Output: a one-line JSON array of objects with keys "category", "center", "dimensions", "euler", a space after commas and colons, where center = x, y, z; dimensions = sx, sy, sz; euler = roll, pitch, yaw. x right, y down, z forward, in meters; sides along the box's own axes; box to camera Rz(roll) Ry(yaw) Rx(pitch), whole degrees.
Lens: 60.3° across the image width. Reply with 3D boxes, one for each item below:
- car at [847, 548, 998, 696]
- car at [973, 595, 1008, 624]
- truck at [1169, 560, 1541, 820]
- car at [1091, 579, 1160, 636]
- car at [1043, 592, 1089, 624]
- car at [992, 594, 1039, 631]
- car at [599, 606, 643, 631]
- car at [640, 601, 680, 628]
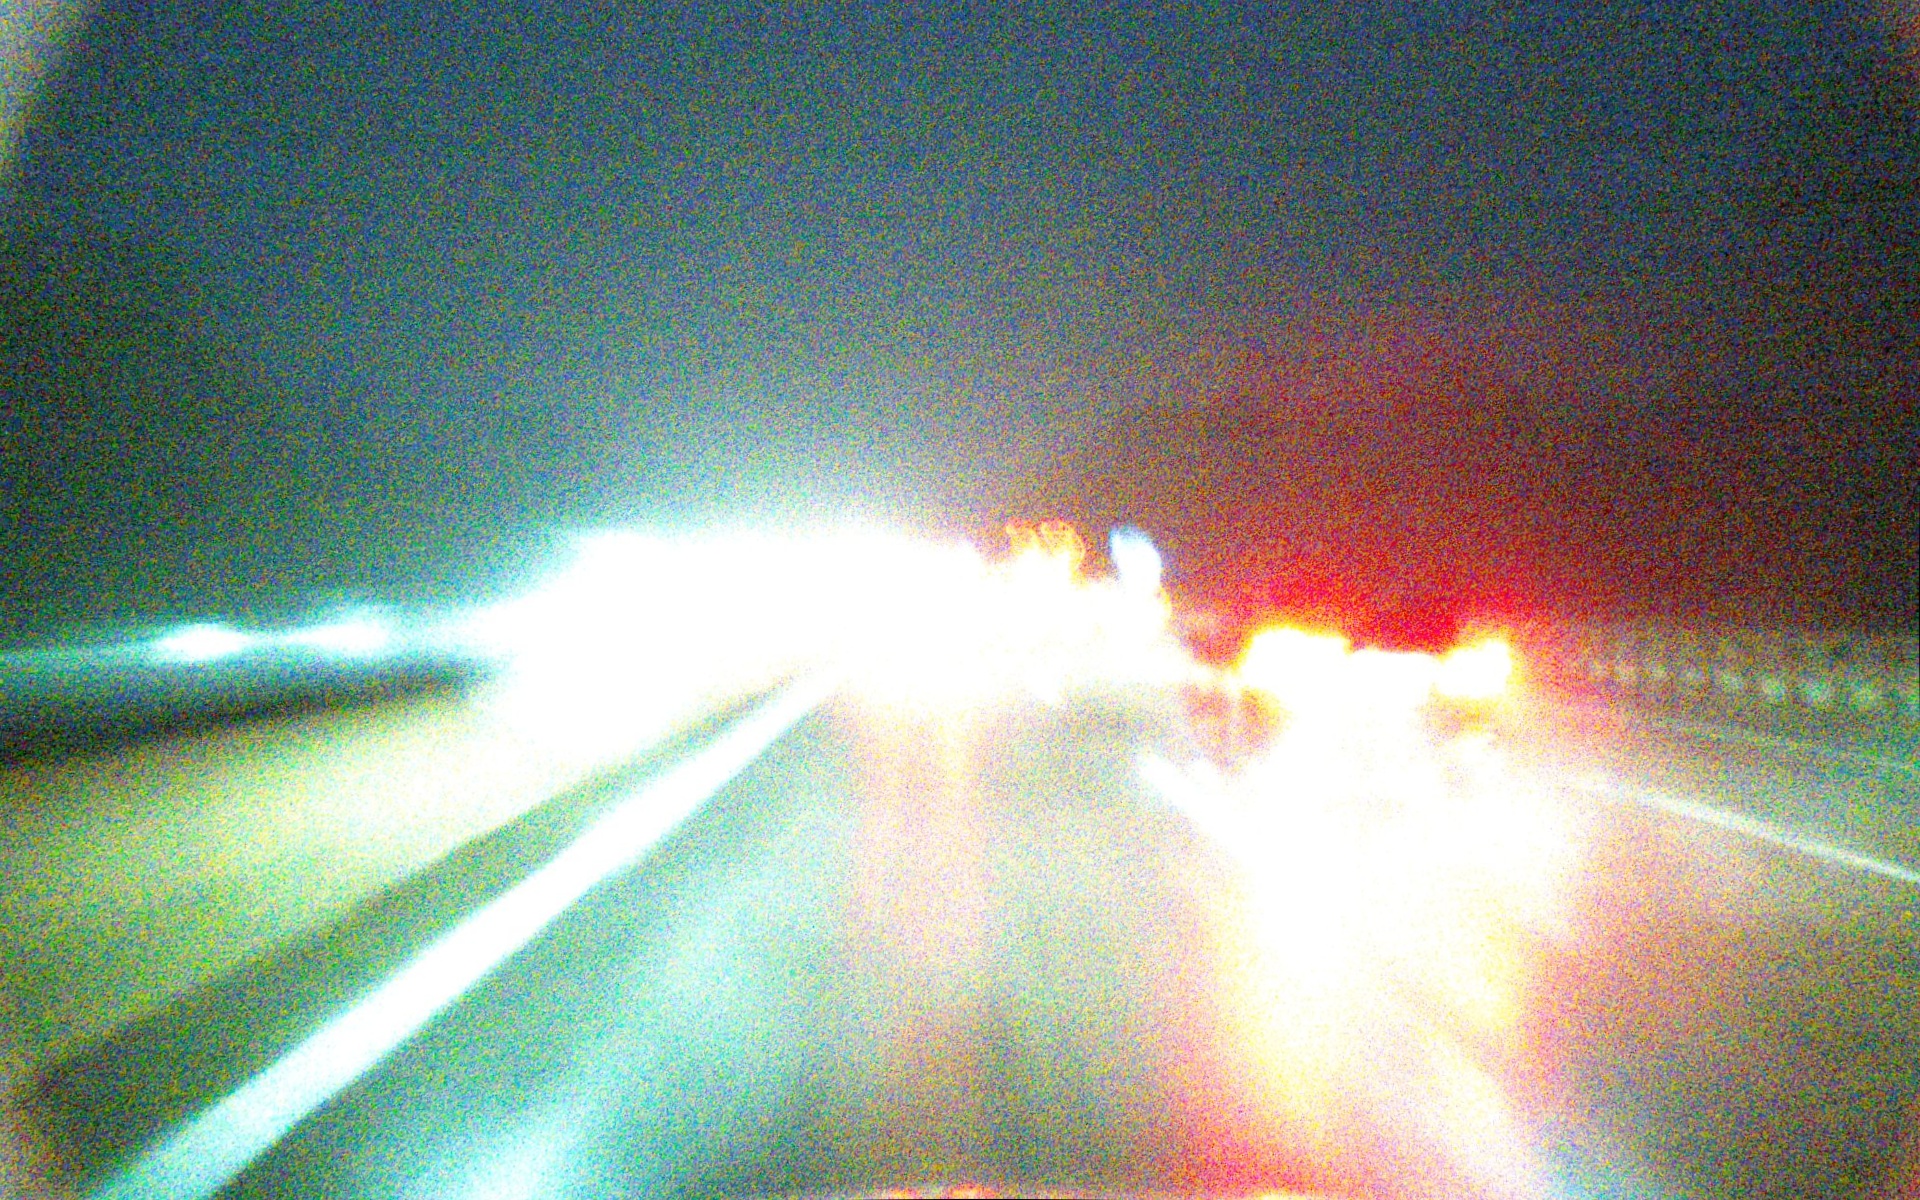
[{"category": "car", "center": [-0.823, 0.356, 32.998], "dimensions": [2.656, 2.578, 5.828], "euler": [-2, 1, -3]}, {"category": "car", "center": [1.736, 0.531, 94.747], "dimensions": [1.846, 1.616, 3.999], "euler": [0, 0, -2]}, {"category": "truck", "center": [2.971, 0.605, 13.572], "dimensions": [1.806, 1.726, 4.853], "euler": [1, 0, -1]}, {"category": "car", "center": [6.277, 0.245, 63.253], "dimensions": [2.004, 2.008, 5.406], "euler": [-2, 1, 0]}, {"category": "car", "center": [5.455, 0.400, 85.471], "dimensions": [1.856, 1.512, 4.960], "euler": [1, 1, -2]}, {"category": "car", "center": [2.167, 0.468, 65.618], "dimensions": [1.580, 1.437, 3.790], "euler": [0, 0, -3]}, {"category": "car", "center": [-22.726, 1.229, 111.047], "dimensions": [1.854, 1.610, 5.371], "euler": [1, 0, 0]}, {"category": "car", "center": [-17.863, 0.852, 98.613], "dimensions": [1.747, 1.446, 4.350], "euler": [-2, 0, -3]}]
